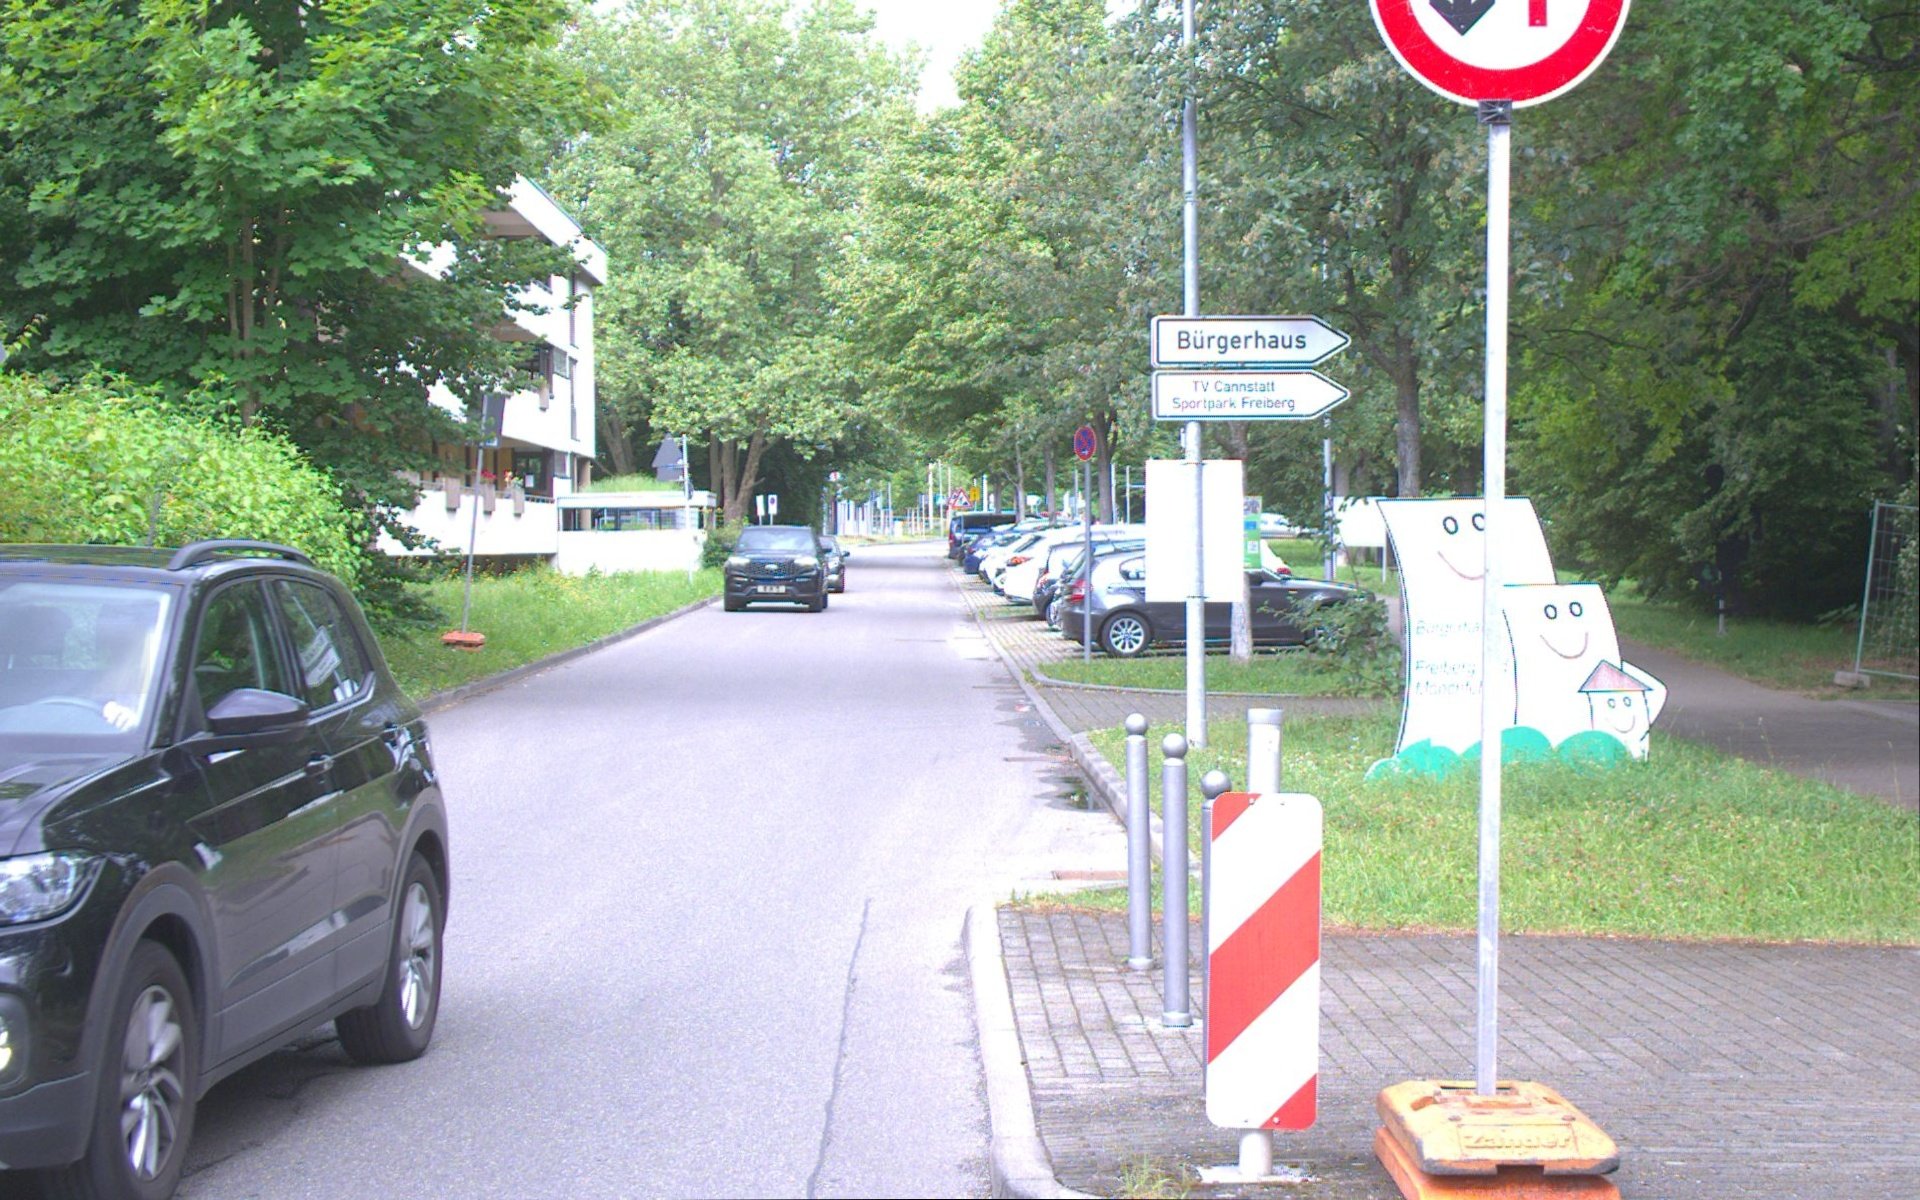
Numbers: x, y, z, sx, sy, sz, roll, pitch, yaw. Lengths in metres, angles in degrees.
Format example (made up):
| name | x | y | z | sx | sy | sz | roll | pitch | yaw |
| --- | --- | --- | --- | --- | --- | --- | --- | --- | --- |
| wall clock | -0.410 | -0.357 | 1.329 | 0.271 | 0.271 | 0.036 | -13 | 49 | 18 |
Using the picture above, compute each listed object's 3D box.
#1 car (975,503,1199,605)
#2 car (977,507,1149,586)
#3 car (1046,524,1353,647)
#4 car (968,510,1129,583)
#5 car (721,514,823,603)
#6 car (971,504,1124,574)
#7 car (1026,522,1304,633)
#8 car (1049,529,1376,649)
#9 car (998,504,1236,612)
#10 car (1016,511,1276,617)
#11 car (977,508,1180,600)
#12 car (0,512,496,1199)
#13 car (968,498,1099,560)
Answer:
| name | x | y | z | sx | sy | sz | roll | pitch | yaw |
| --- | --- | --- | --- | --- | --- | --- | --- | --- | --- |
| car | 2.430 | -0.900 | 66.418 | 4.062 | 1.681 | 1.823 | -4 | 1 | -4 |
| car | 2.563 | -1.350 | 86.199 | 4.062 | 1.681 | 1.823 | -4 | 1 | -4 |
| car | 3.286 | -0.188 | 47.771 | 4.063 | 1.563 | 1.822 | -2 | 0 | -1 |
| car | 2.348 | -1.444 | 92.054 | 4.062 | 1.681 | 1.823 | -4 | 1 | -4 |
| car | -3.799 | -0.864 | 70.138 | 1.968 | 1.741 | 4.339 | 0 | 1 | -2 |
| car | 2.444 | -1.724 | 96.803 | 4.062 | 1.681 | 1.823 | -4 | 1 | -4 |
| car | 3.096 | -0.361 | 52.553 | 4.063 | 1.563 | 1.823 | -2 | 1 | -1 |
| car | 3.261 | -0.133 | 45.017 | 4.063 | 1.429 | 2.000 | -2 | 0 | -1 |
| car | 2.834 | -0.773 | 62.736 | 4.062 | 1.681 | 1.823 | -4 | 1 | -4 |
| car | 3.078 | -0.610 | 57.421 | 4.062 | 1.483 | 1.823 | -4 | 1 | -4 |
| car | 2.506 | -0.989 | 73.294 | 4.062 | 1.681 | 1.823 | -4 | 1 | -4 |
| car | -2.571 | 0.576 | 8.916 | 1.803 | 1.586 | 4.295 | 0 | 1 | 5 |
| car | 2.405 | -2.344 | 112.945 | 4.062 | 1.764 | 1.823 | -4 | 1 | -4 |
